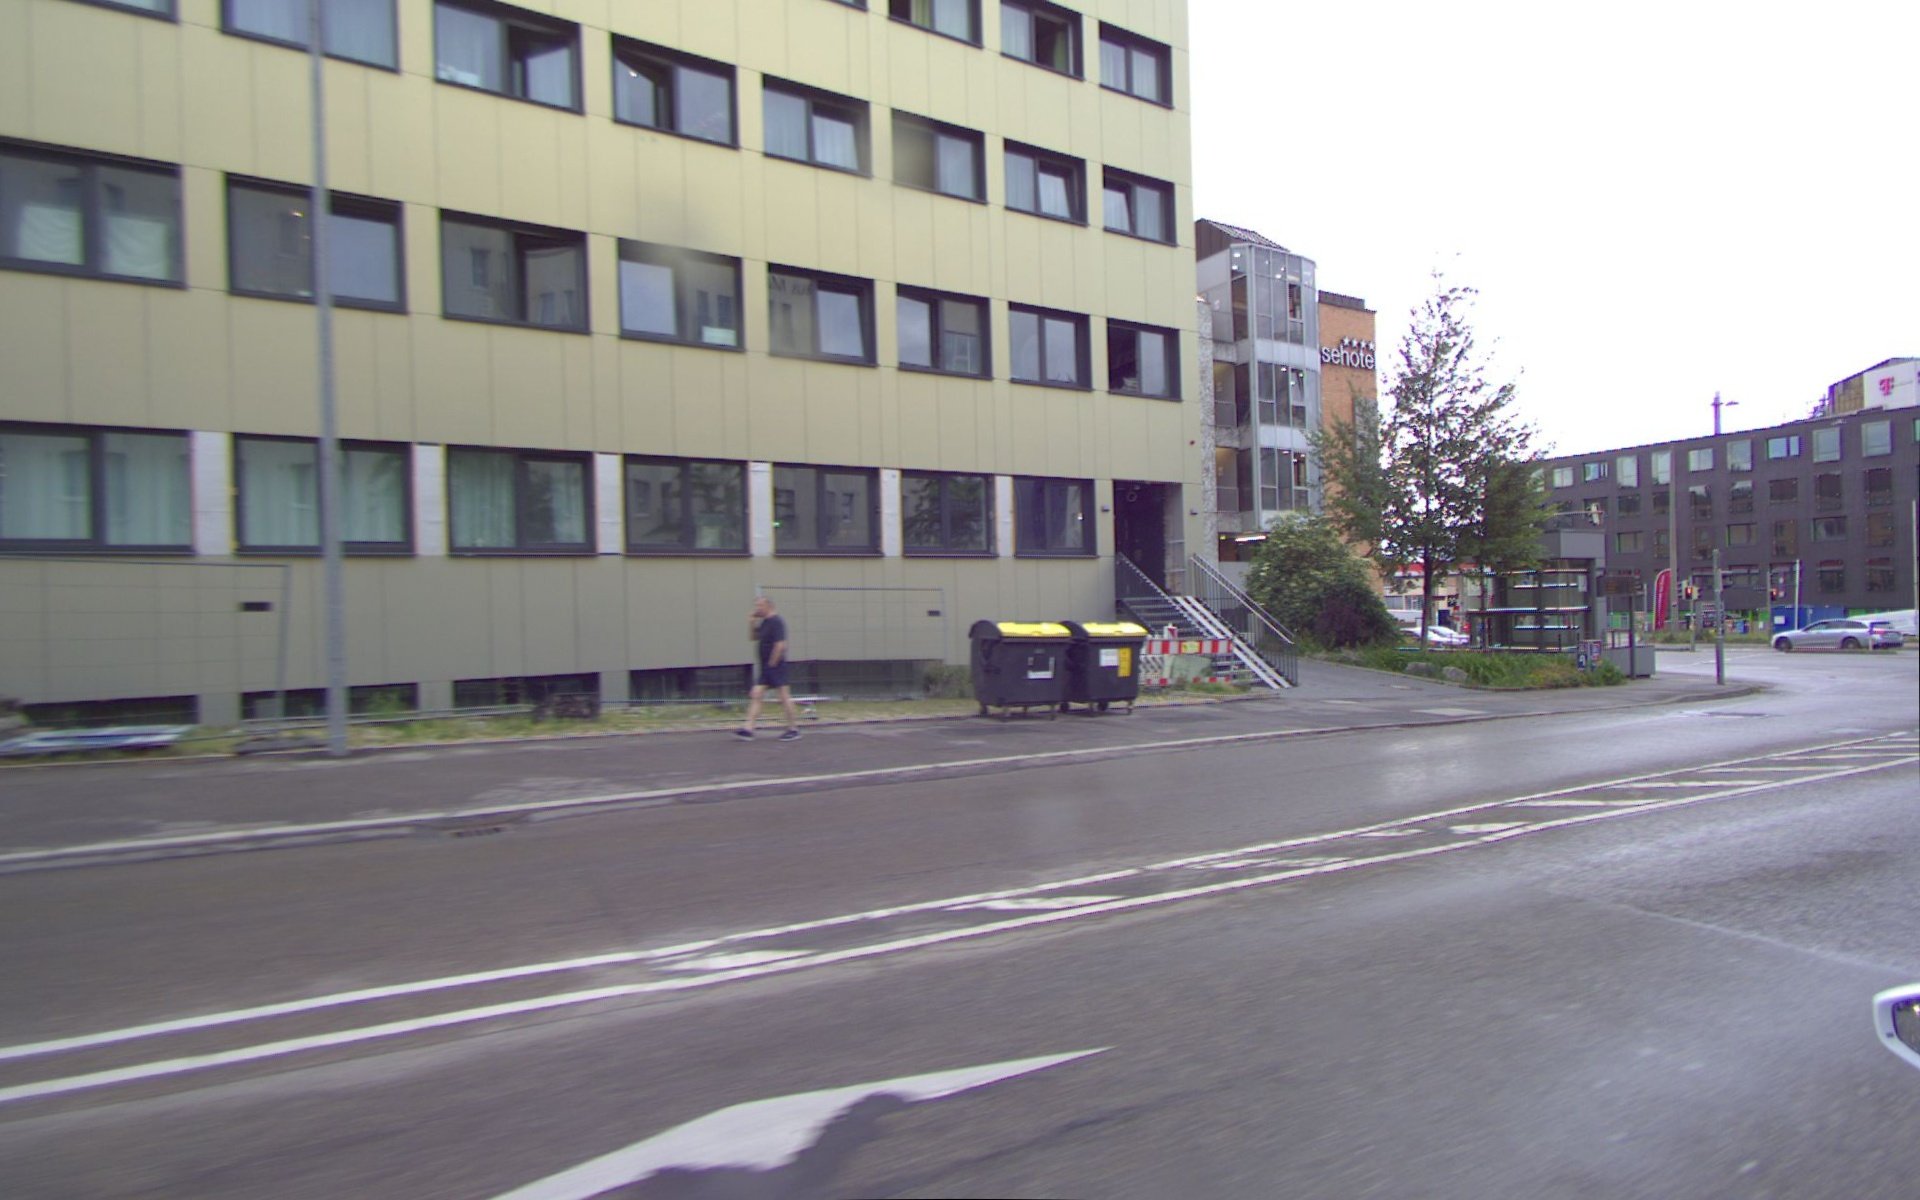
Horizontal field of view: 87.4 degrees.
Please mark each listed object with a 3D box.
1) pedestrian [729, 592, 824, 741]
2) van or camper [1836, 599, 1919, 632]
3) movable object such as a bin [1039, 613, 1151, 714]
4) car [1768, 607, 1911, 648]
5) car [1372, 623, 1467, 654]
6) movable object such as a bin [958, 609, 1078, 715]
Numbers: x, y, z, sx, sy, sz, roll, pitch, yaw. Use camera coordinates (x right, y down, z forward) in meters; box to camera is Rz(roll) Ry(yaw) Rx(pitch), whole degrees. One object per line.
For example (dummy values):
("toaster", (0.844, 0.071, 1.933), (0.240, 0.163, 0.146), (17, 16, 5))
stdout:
("pedestrian", (-2.272, 0.793, 12.393), (0.930, 1.755, 0.752), (1, 1, -28))
("van or camper", (71.350, 1.196, 77.360), (2.708, 2.400, 5.302), (1, 1, -31))
("movable object such as a bin", (2.117, 0.970, 15.763), (1.341, 1.465, 1.049), (1, 1, -29))
("car", (39.036, 1.180, 44.730), (1.965, 1.600, 4.480), (2, 1, -12))
("car", (22.303, 1.831, 48.907), (1.631, 1.339, 3.968), (-2, 0, -30))
("movable object such as a bin", (0.855, 0.904, 15.031), (1.413, 1.465, 1.049), (1, 1, -29))
